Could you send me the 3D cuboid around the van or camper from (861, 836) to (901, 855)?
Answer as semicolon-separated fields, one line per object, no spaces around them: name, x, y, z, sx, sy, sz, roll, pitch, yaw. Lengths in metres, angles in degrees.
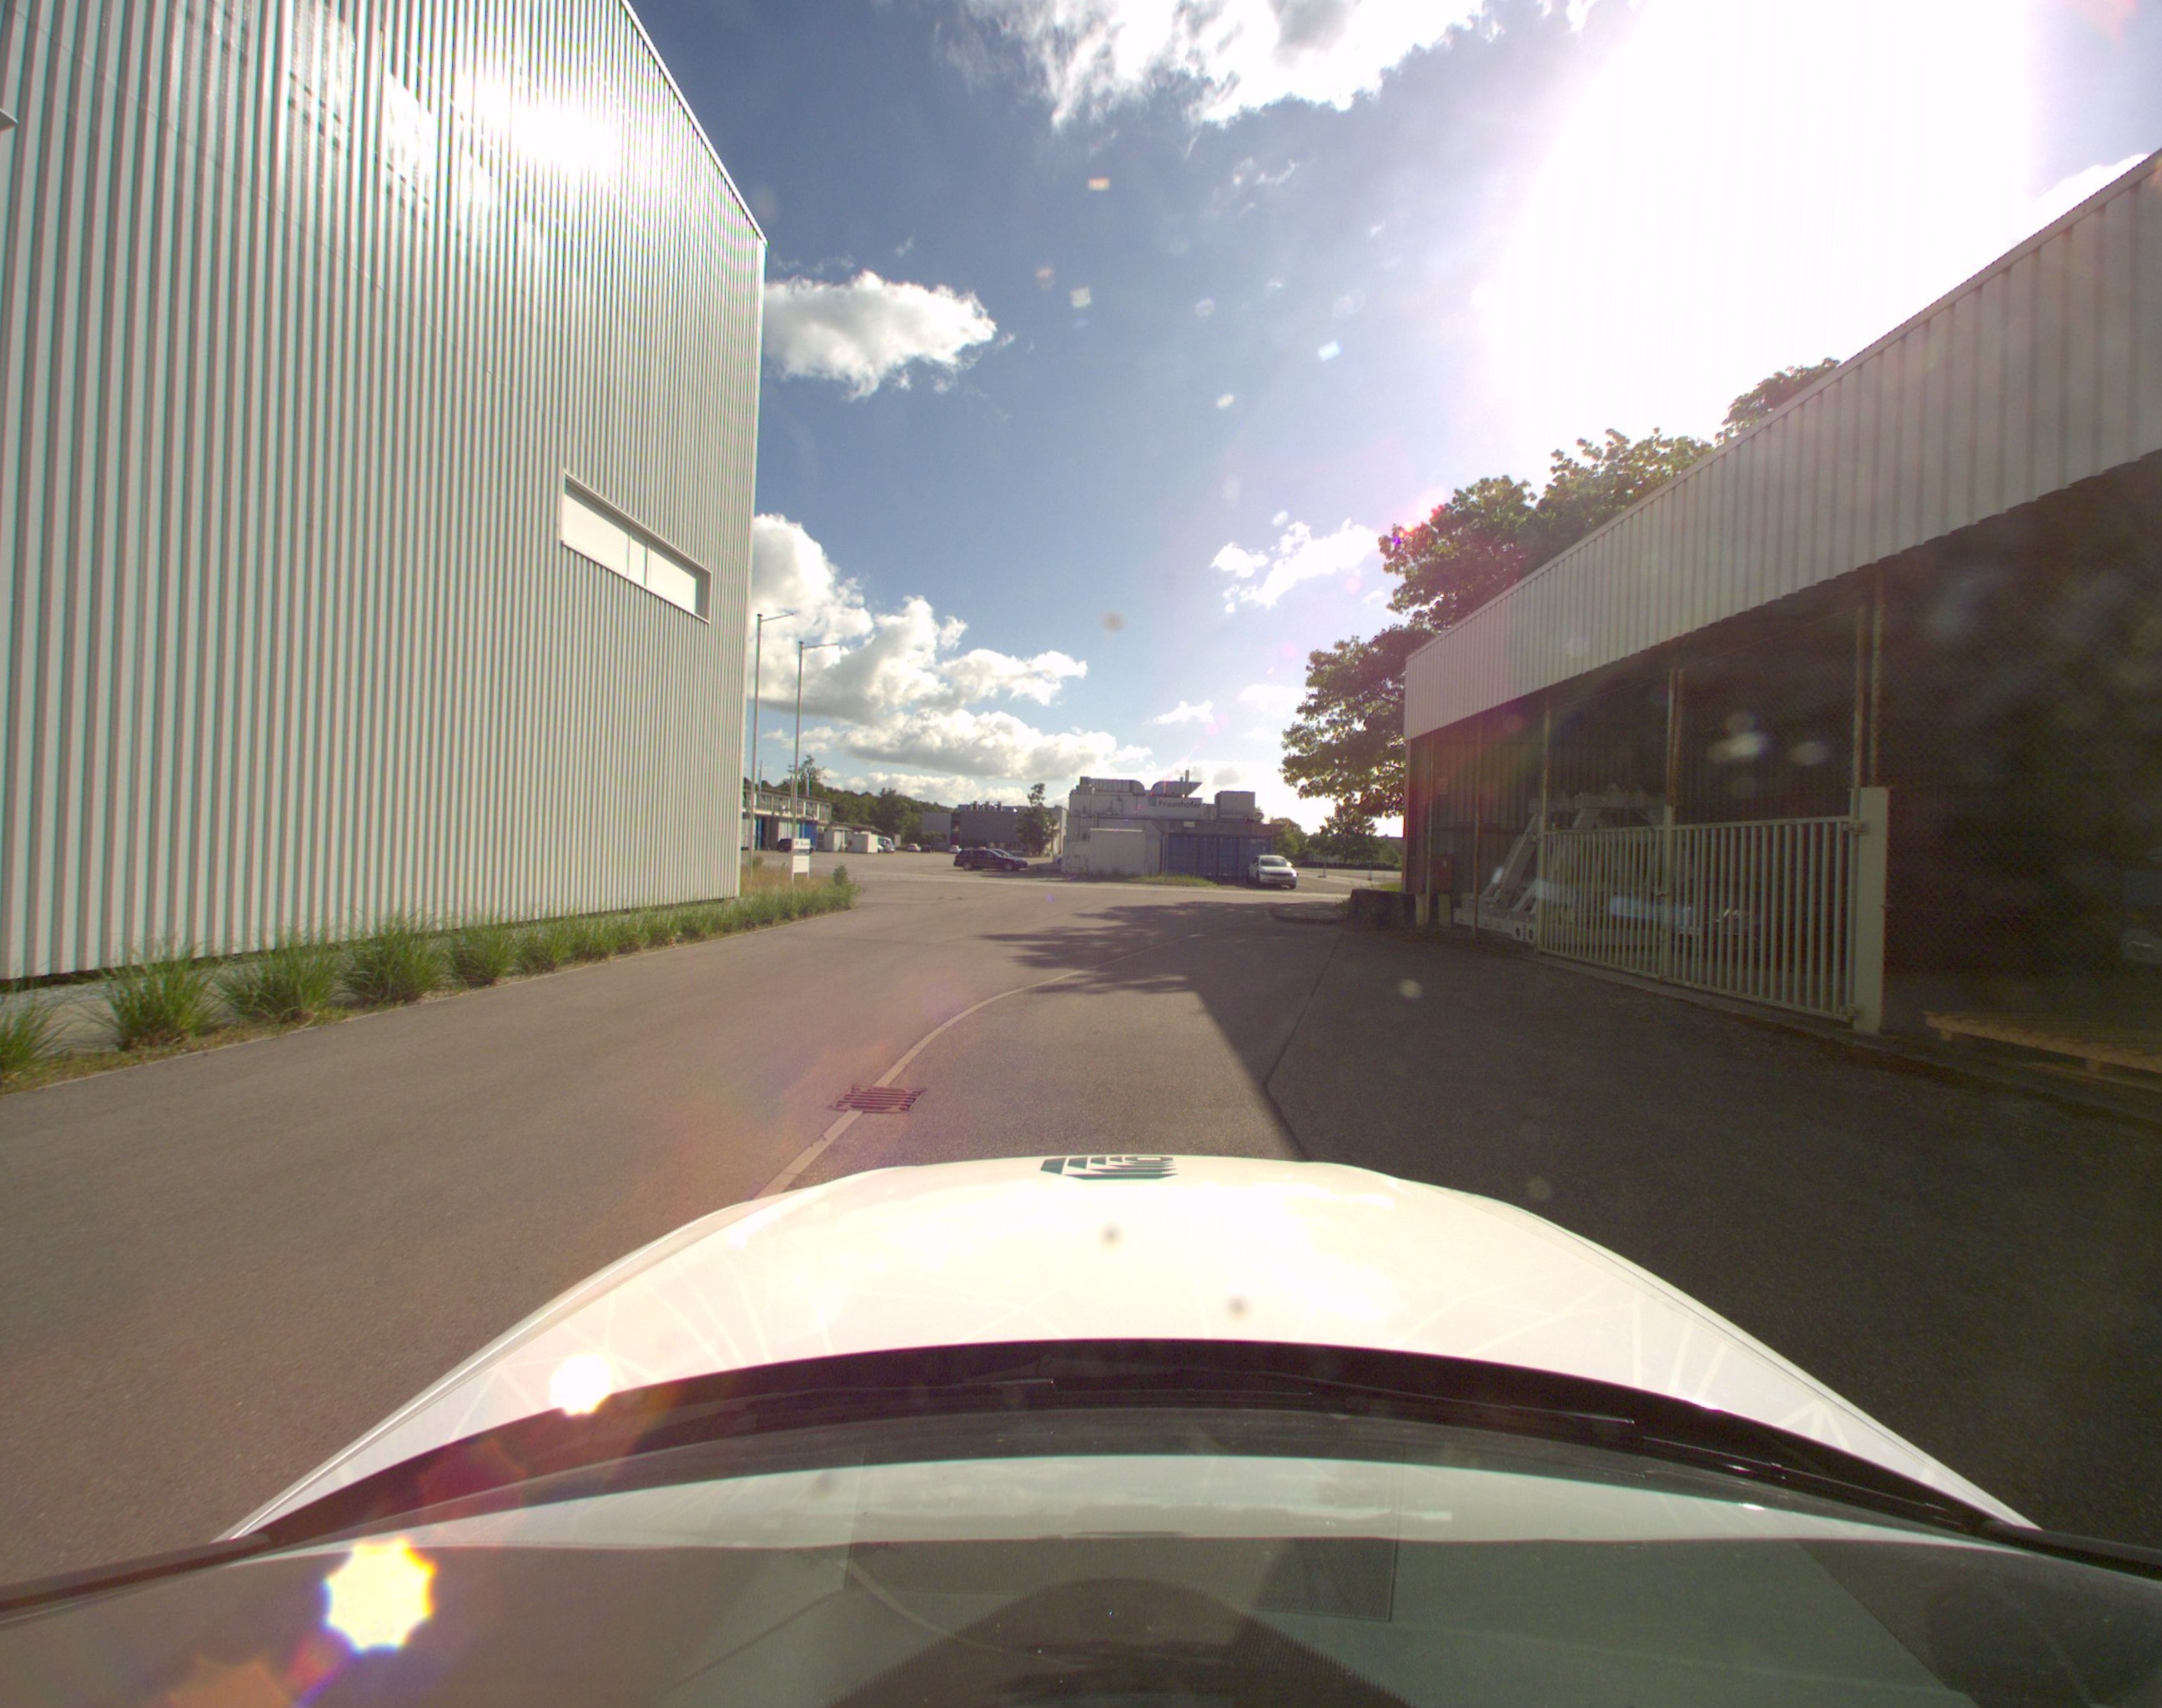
van or camper;-31.749;-1.360;129.337;5.696;2.928;2.473;1;0;0

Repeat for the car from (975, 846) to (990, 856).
car;-18.457;-0.529;152.594;2.185;1.736;4.002;0;0;2

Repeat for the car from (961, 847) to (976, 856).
car;-21.047;-0.494;152.329;1.986;1.736;4.002;0;0;2

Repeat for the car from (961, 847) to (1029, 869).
car;-6.104;0.287;58.225;4.506;1.508;1.911;1;0;4

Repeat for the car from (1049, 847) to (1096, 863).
car;-0.840;0.062;82.451;4.507;1.508;1.910;1;0;3

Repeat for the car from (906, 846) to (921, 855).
car;-31.346;-0.690;152.552;1.986;1.736;4.002;0;0;2

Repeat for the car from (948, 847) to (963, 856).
car;-23.518;-0.488;152.756;1.986;1.736;4.002;0;0;2

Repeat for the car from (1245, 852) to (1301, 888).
car;9.780;0.787;41.730;1.986;1.585;4.175;1;2;2

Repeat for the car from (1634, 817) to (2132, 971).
car;10.952;0.523;11.375;5.225;1.876;1.998;1;0;-4

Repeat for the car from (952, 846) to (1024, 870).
car;-6.217;0.273;54.988;4.506;1.508;1.911;1;0;4

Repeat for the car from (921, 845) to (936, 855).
car;-28.553;-0.696;152.412;1.986;1.736;4.002;0;0;2

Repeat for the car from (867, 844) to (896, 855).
car;-30.851;-0.683;126.044;3.973;1.610;2.000;1;0;0

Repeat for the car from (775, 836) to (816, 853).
car;-32.430;-1.044;92.511;3.978;1.786;1.998;1;0;-3
